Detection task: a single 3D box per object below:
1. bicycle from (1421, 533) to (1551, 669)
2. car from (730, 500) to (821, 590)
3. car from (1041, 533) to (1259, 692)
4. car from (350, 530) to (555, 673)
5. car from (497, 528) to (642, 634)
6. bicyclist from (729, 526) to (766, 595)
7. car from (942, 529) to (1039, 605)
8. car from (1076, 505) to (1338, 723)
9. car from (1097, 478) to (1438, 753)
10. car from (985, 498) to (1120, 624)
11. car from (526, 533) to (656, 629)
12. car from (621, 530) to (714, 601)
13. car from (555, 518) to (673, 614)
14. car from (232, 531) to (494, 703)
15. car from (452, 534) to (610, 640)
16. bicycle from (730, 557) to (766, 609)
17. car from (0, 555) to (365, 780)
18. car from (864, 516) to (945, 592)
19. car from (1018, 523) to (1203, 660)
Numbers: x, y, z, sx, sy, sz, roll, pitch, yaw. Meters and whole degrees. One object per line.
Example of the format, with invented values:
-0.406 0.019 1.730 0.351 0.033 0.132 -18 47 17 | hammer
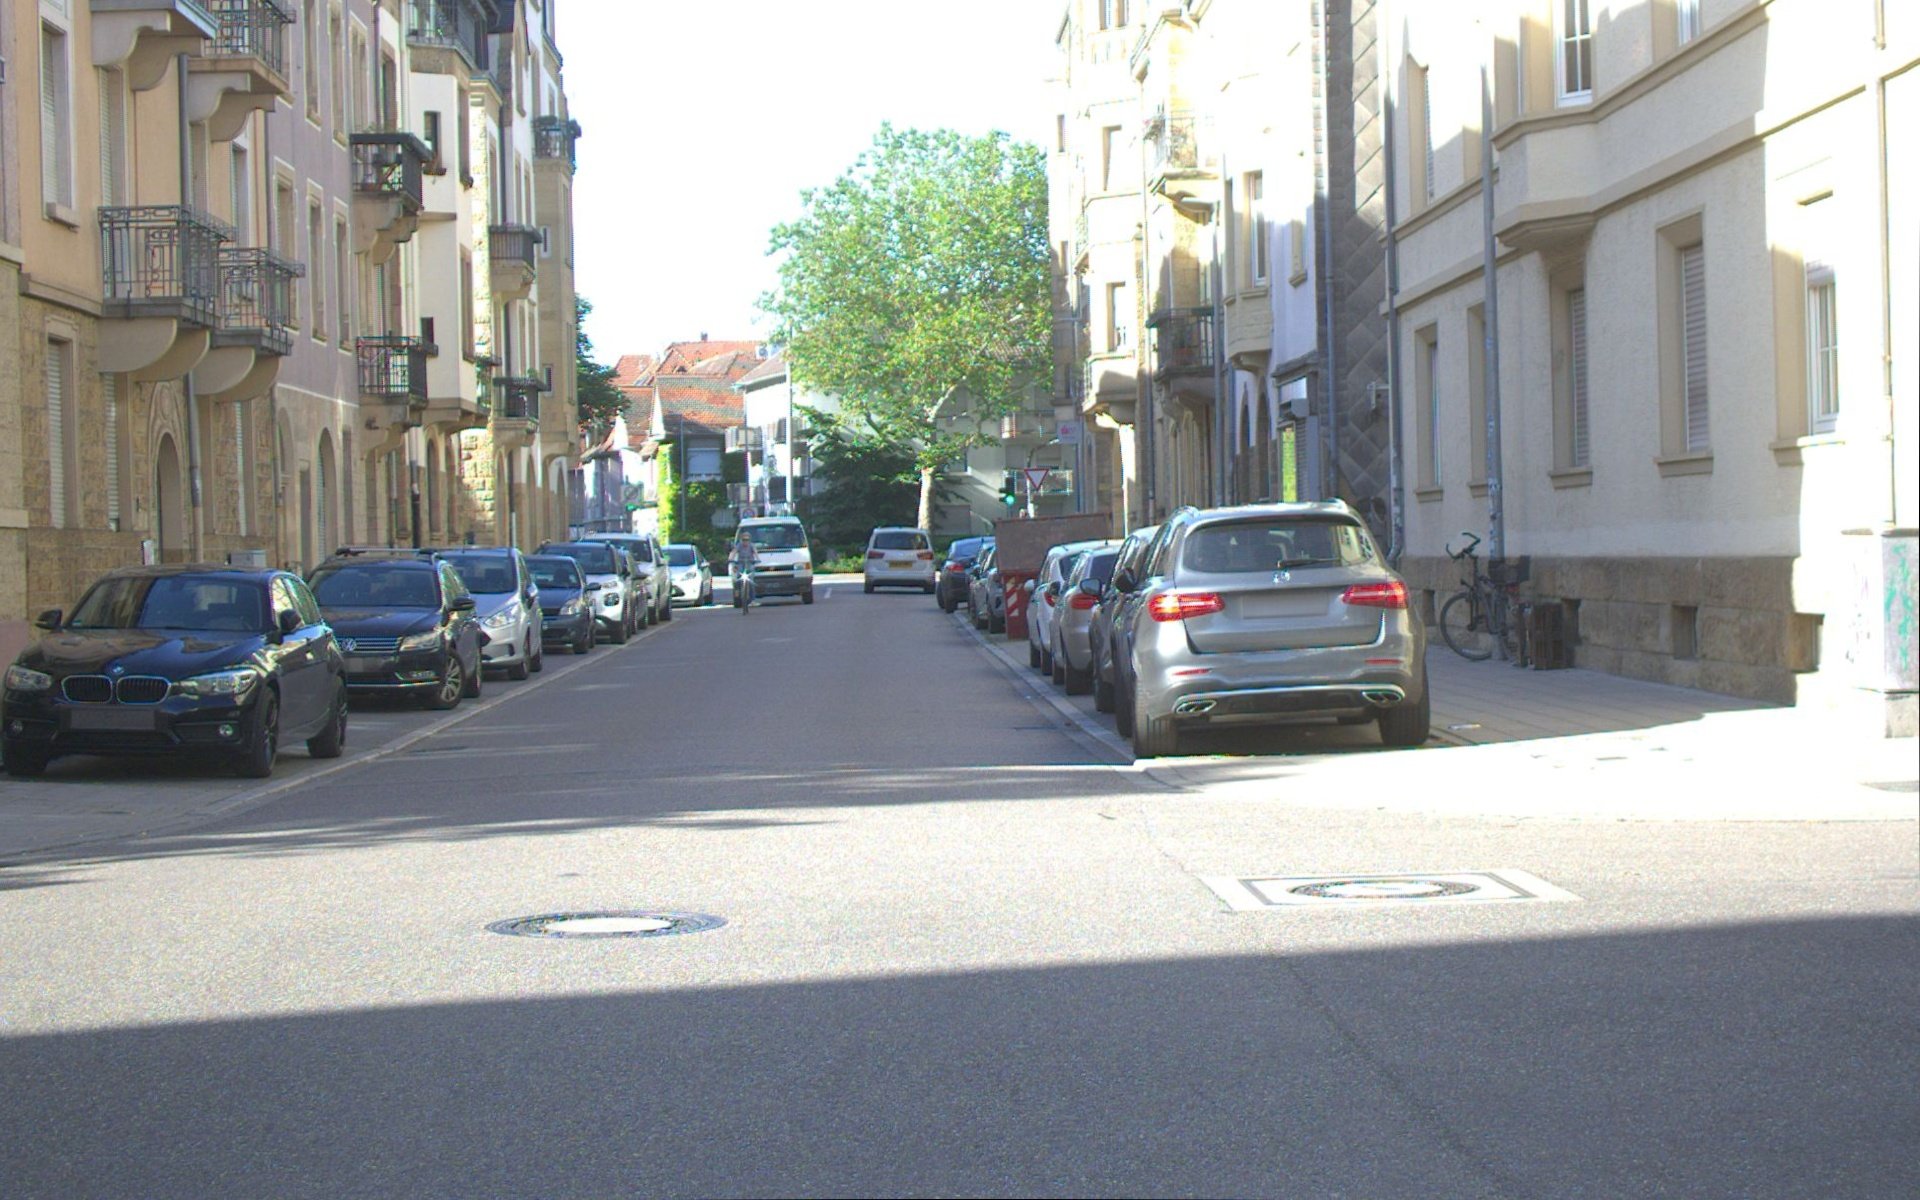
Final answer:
5.080 -0.015 33.367 0.761 1.242 2.592 -1 1 -2 | bicycle
-4.201 -1.239 78.824 2.003 1.993 4.488 1 0 -3 | car
1.846 0.129 34.610 1.838 1.426 4.029 -3 0 -1 | car
-6.117 0.003 41.901 2.003 1.613 4.488 1 0 -3 | car
-6.262 -0.312 55.550 2.003 1.613 4.488 1 0 -3 | car
-4.390 -0.821 71.072 0.662 1.381 0.754 -3 0 -2 | bicyclist
0.609 -0.660 71.607 1.838 1.426 4.029 -3 -1 -1 | car
1.976 0.118 28.546 1.745 1.602 4.029 -3 0 -1 | car
2.022 0.107 23.923 1.913 1.639 4.773 -3 0 1 | car
1.383 -0.562 52.791 1.838 1.781 4.029 -2 -1 -1 | car
-6.514 -0.337 61.051 2.003 1.613 4.488 1 0 -3 | car
-6.909 -0.816 81.521 2.003 1.600 4.488 1 0 -3 | car
-6.649 -0.650 66.521 2.003 1.782 4.488 1 0 -3 | car
-5.877 0.146 34.346 2.003 1.577 4.488 1 0 -3 | car
-6.316 -0.198 51.039 1.978 1.477 4.328 1 0 -3 | car
-4.378 -0.353 71.059 0.662 1.015 2.067 -3 1 -3 | bicycle
-5.402 0.417 24.158 1.679 1.421 4.274 1 0 0 | car
-1.474 -1.179 89.810 2.003 1.907 4.488 1 0 -2 | car
1.700 -0.082 40.001 1.838 1.426 4.029 -3 0 -1 | car
